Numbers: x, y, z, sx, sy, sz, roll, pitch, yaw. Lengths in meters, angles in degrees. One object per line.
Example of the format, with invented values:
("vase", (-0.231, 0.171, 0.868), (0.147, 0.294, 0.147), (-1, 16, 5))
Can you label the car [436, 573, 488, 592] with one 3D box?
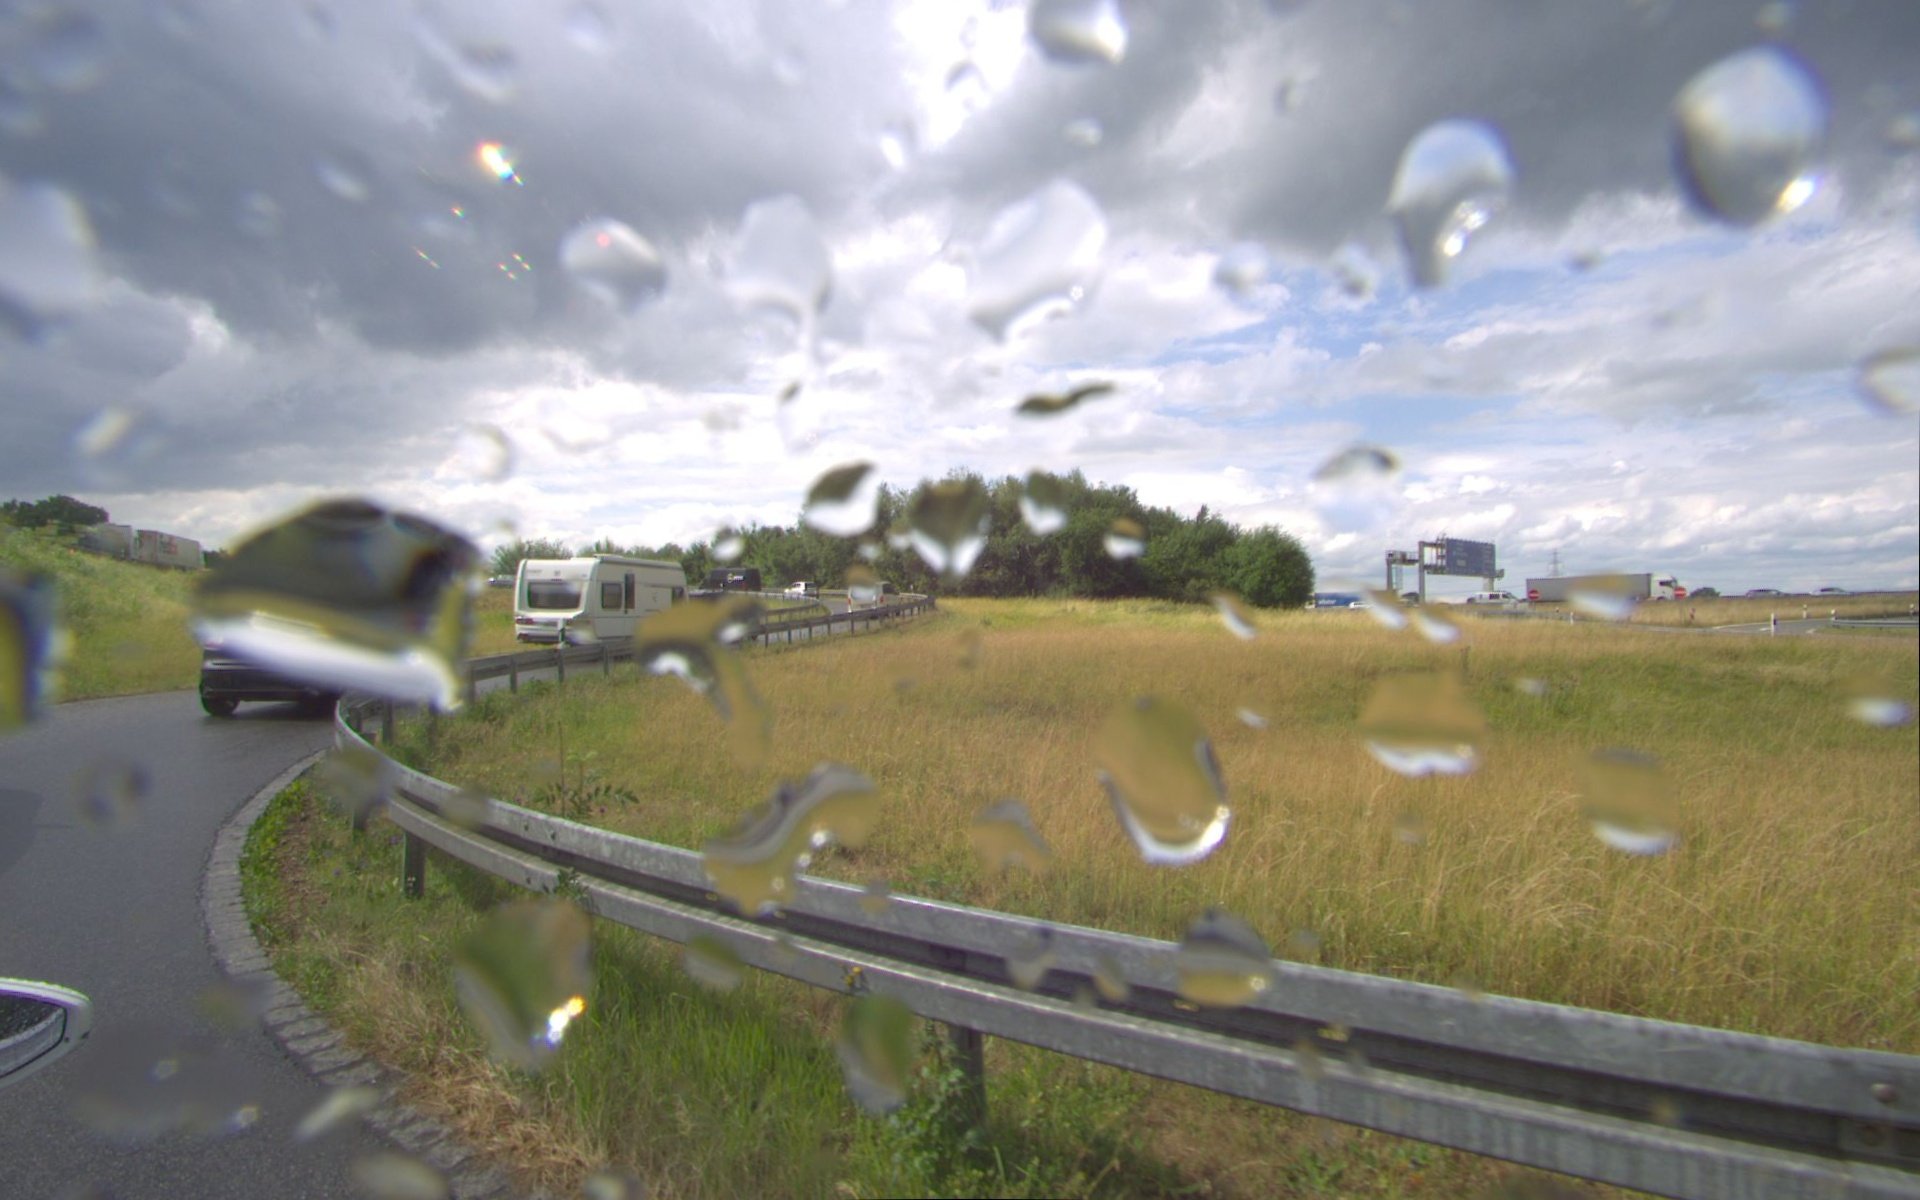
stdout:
("car", (-52.372, -1.843, 105.334), (4.423, 1.886, 2.000), (-1, 0, -1))

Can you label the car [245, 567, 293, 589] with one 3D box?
("car", (-70.800, -2.221, 102.607), (3.946, 2.039, 1.817), (2, -3, -33))

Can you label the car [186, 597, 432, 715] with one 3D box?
("car", (-9.695, 0.761, 15.315), (1.691, 1.545, 3.997), (1, 0, -10))

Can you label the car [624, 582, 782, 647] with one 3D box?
("car", (-8.381, 0.439, 33.388), (2.393, 1.951, 5.750), (1, 0, 18))

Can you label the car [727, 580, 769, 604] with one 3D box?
("car", (-19.588, -0.722, 92.445), (3.959, 2.039, 1.983), (-2, -3, 44))

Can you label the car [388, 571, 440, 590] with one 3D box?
("car", (-59.398, -2.105, 108.869), (4.964, 1.886, 1.998), (-1, 0, 15))

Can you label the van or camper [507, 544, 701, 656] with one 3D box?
("van or camper", (-9.708, 0.018, 28.038), (2.392, 2.765, 5.998), (1, 0, 11))

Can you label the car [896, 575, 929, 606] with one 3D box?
("car", (-2.974, -0.558, 63.859), (1.961, 1.886, 5.057), (-1, -1, -1))

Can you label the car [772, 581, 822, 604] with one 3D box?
("car", (-13.934, -0.597, 85.354), (1.650, 1.808, 5.006), (0, -1, -45))

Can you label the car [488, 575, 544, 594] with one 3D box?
("car", (-46.032, -1.619, 103.859), (4.959, 1.886, 2.000), (-1, 0, 7))

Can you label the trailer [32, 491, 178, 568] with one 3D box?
("trailer", (-69.676, -5.450, 82.477), (4.360, 4.005, 20.143), (1, -3, -27))

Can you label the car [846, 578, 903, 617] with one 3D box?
("car", (-4.354, -0.091, 51.855), (1.961, 1.886, 5.056), (-1, -1, 7))

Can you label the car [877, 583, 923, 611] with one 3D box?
("car", (-4.312, -0.194, 70.809), (1.965, 1.886, 5.046), (0, -1, -19))

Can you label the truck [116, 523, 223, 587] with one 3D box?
("truck", (-78.316, -4.173, 99.848), (4.407, 4.559, 19.304), (1, -3, -27))
